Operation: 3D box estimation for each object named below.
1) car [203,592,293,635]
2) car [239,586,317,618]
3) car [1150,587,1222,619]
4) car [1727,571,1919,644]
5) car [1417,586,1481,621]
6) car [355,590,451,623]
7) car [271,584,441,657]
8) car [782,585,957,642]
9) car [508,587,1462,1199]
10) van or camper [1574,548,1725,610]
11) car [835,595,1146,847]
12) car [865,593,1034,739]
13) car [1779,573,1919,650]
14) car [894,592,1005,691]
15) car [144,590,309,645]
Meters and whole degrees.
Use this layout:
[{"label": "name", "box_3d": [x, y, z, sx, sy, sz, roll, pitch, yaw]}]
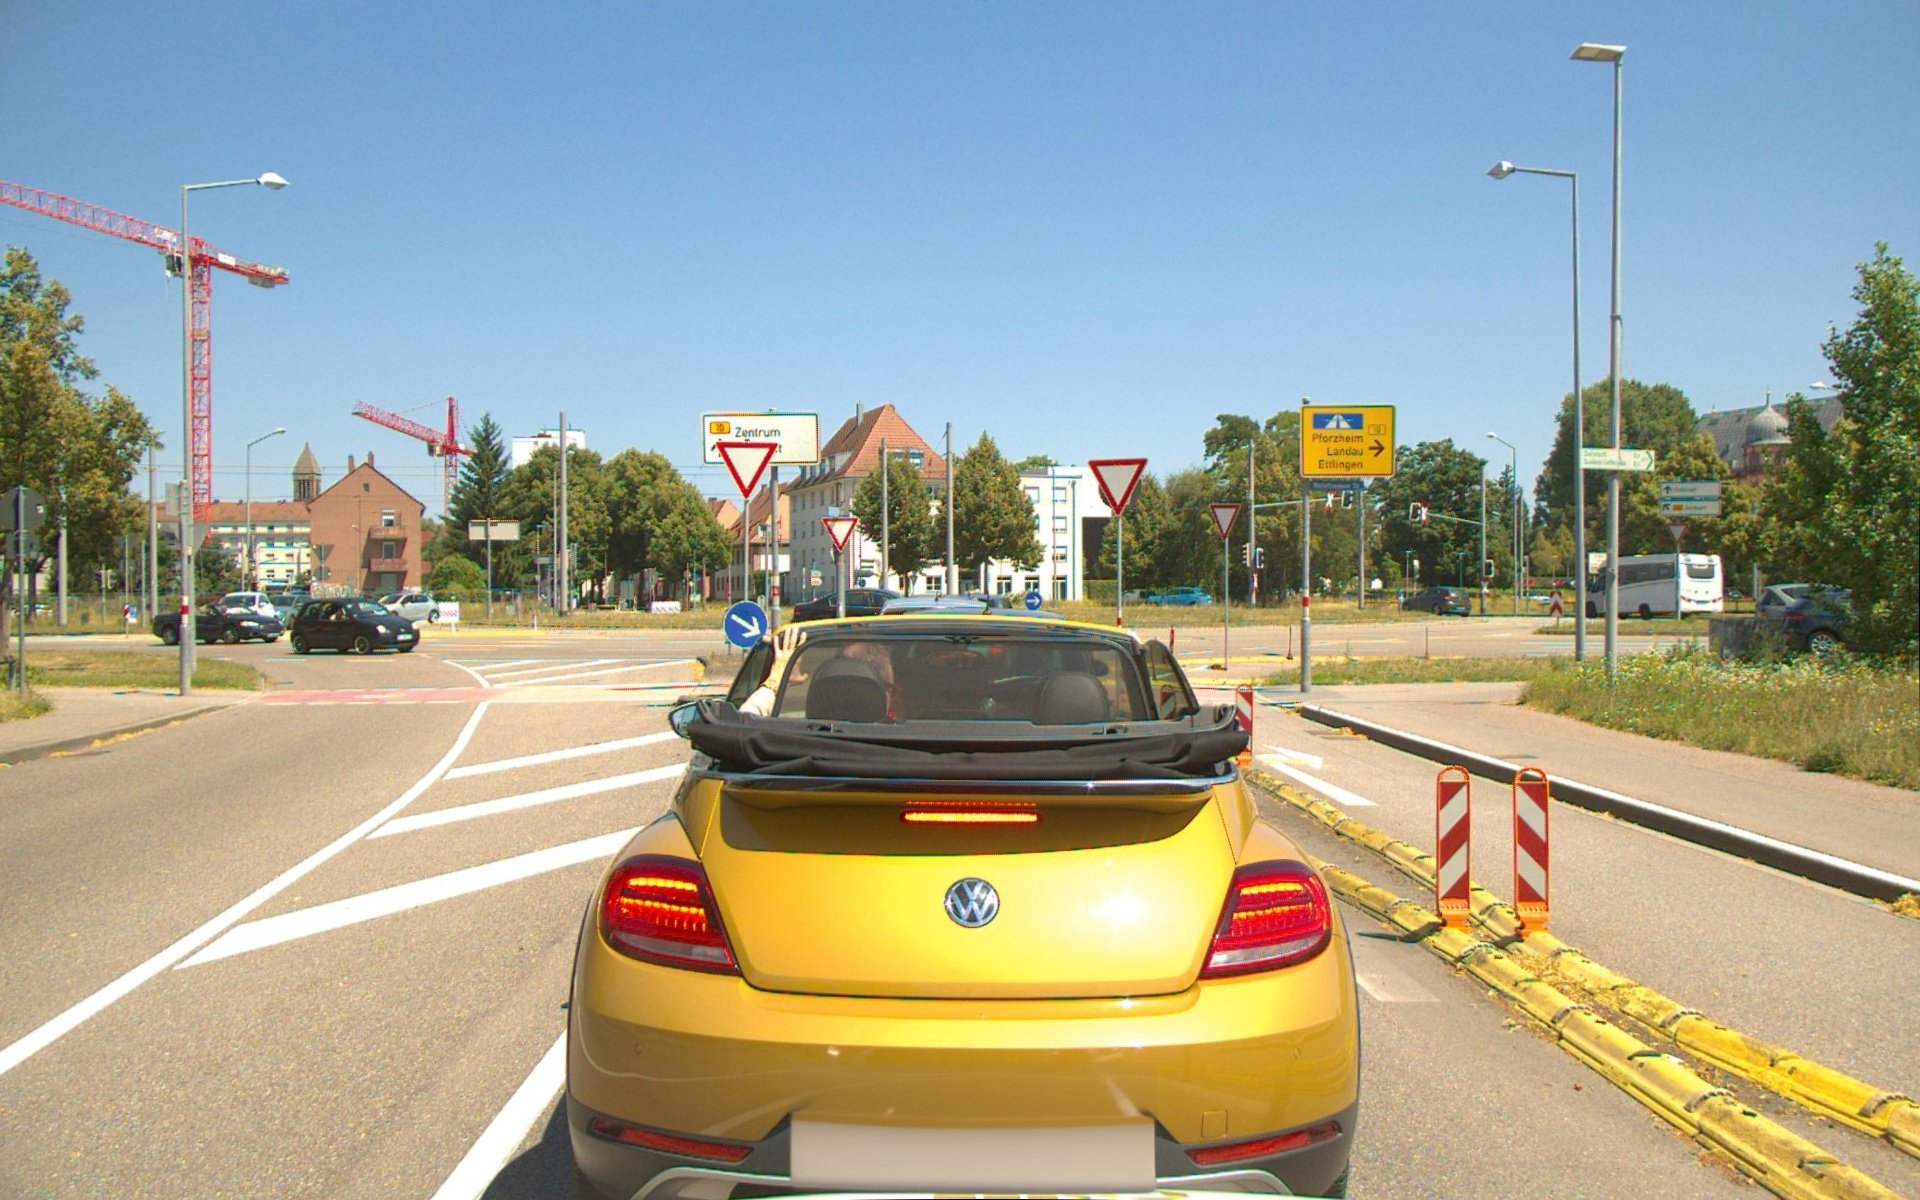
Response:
[{"label": "car", "box_3d": [-27.115, 0.511, 63.127, 1.720, 1.576, 3.999, 0, 0, -1]}, {"label": "car", "box_3d": [-28.062, 0.081, 68.157, 1.672, 1.258, 3.786, 0, 0, -1]}, {"label": "car", "box_3d": [13.346, 0.165, 97.638, 3.903, 1.870, 2.001, 0, 0, 17]}, {"label": "car", "box_3d": [20.974, 0.195, 40.352, 3.904, 1.522, 1.648, -4, -1, 20]}, {"label": "car", "box_3d": [23.248, 0.152, 78.687, 1.616, 1.634, 3.219, 0, 0, -12]}, {"label": "car", "box_3d": [-26.176, 0.298, 77.809, 1.676, 1.526, 4.210, 0, 0, 32]}, {"label": "car", "box_3d": [-15.971, 0.510, 43.780, 3.906, 1.847, 2.000, 0, 0, 23]}, {"label": "car", "box_3d": [-2.393, 0.359, 44.453, 4.422, 1.472, 1.824, 0, 0, 7]}, {"label": "car", "box_3d": [0.019, 0.704, 4.873, 1.717, 1.447, 3.776, 0, 0, -1]}, {"label": "van or camper", "box_3d": [31.668, -0.928, 76.340, 2.463, 2.741, 7.483, 0, 0, -15]}, {"label": "car", "box_3d": [0.156, 0.705, 11.661, 1.810, 1.467, 3.999, 0, 0, -1]}, {"label": "car", "box_3d": [-0.129, 0.664, 18.670, 1.701, 1.467, 3.999, 0, 0, -1]}, {"label": "car", "box_3d": [20.122, 0.243, 36.067, 3.918, 1.648, 1.736, 0, 0, 23]}, {"label": "car", "box_3d": [-0.186, 0.638, 27.471, 1.701, 1.503, 3.999, 0, 0, -1]}, {"label": "car", "box_3d": [-23.706, 0.549, 53.459, 4.835, 1.685, 2.000, 0, 0, 20]}]
